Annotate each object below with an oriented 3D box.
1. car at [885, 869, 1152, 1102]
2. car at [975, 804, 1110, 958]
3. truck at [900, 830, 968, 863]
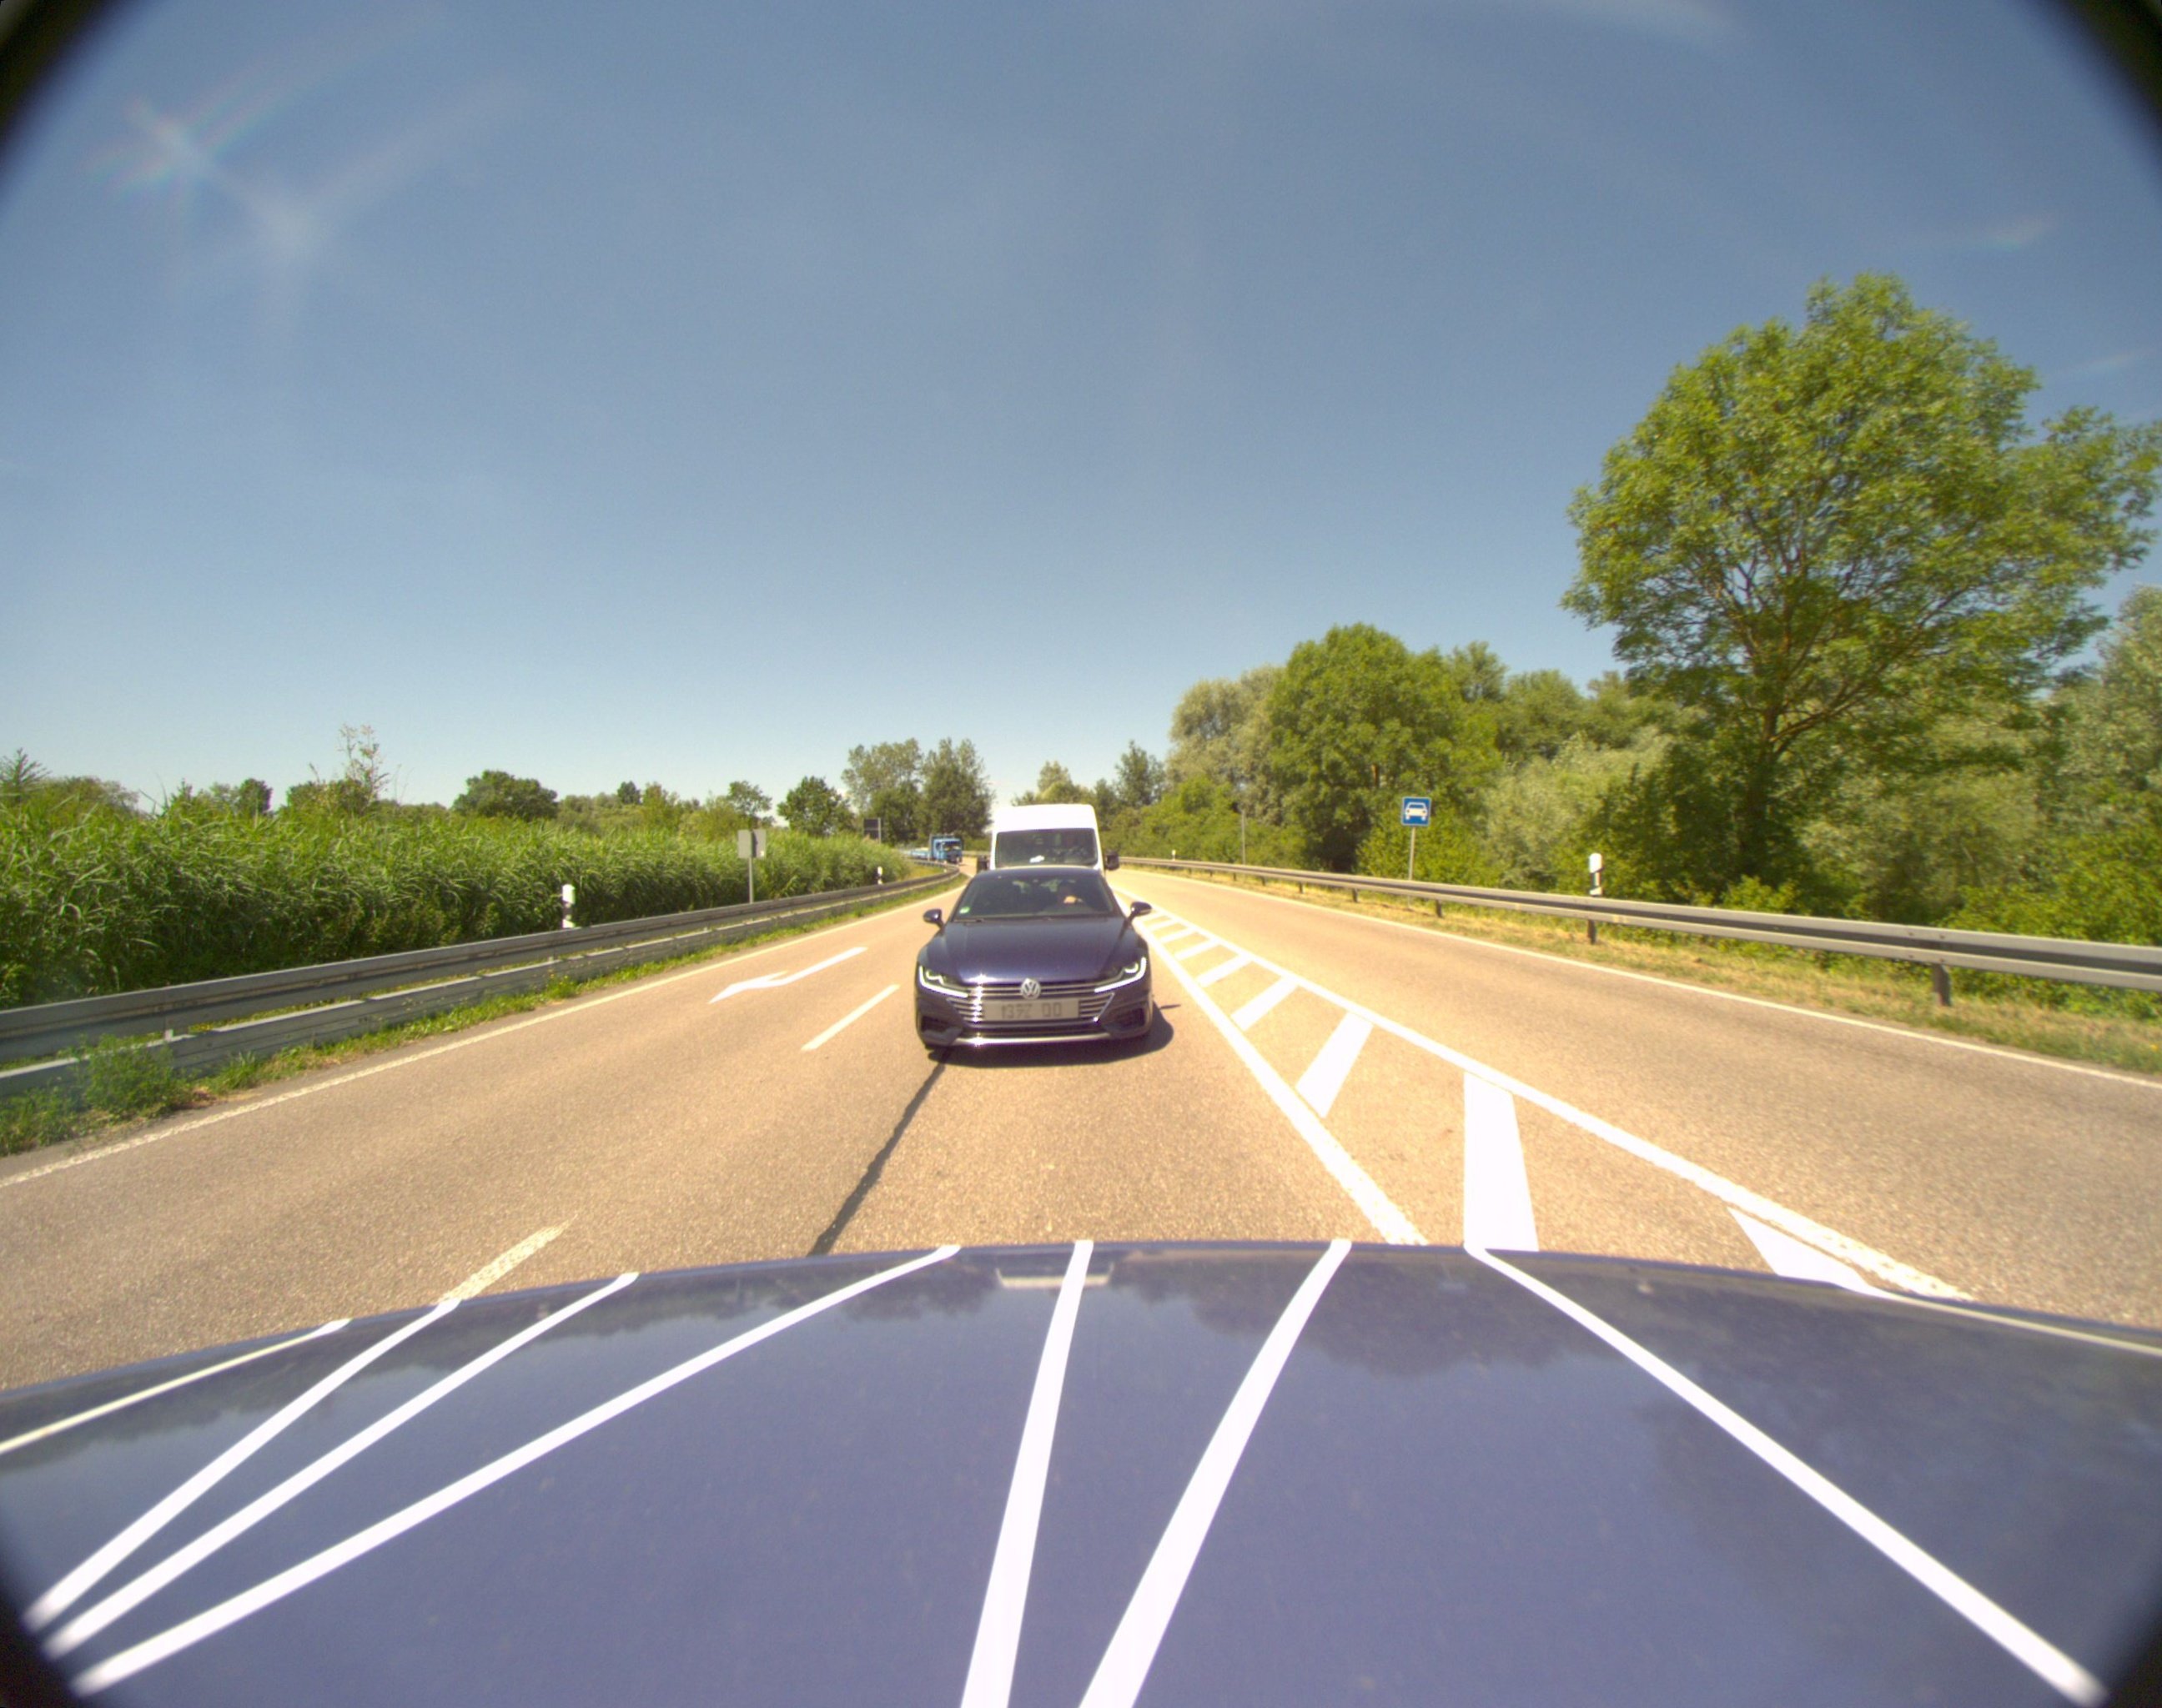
[{"bbox_3d":[-0.416,0.937,7.158,1.761,1.401,3.999,-2,1,0],"label":"car"},{"bbox_3d":[-0.594,0.396,14.932,2.059,2.376,5.826,-2,1,0],"label":"car"},{"bbox_3d":[-14.500,-0.646,74.222,2.583,3.052,9.055,-2,0,-39],"label":"truck"}]
